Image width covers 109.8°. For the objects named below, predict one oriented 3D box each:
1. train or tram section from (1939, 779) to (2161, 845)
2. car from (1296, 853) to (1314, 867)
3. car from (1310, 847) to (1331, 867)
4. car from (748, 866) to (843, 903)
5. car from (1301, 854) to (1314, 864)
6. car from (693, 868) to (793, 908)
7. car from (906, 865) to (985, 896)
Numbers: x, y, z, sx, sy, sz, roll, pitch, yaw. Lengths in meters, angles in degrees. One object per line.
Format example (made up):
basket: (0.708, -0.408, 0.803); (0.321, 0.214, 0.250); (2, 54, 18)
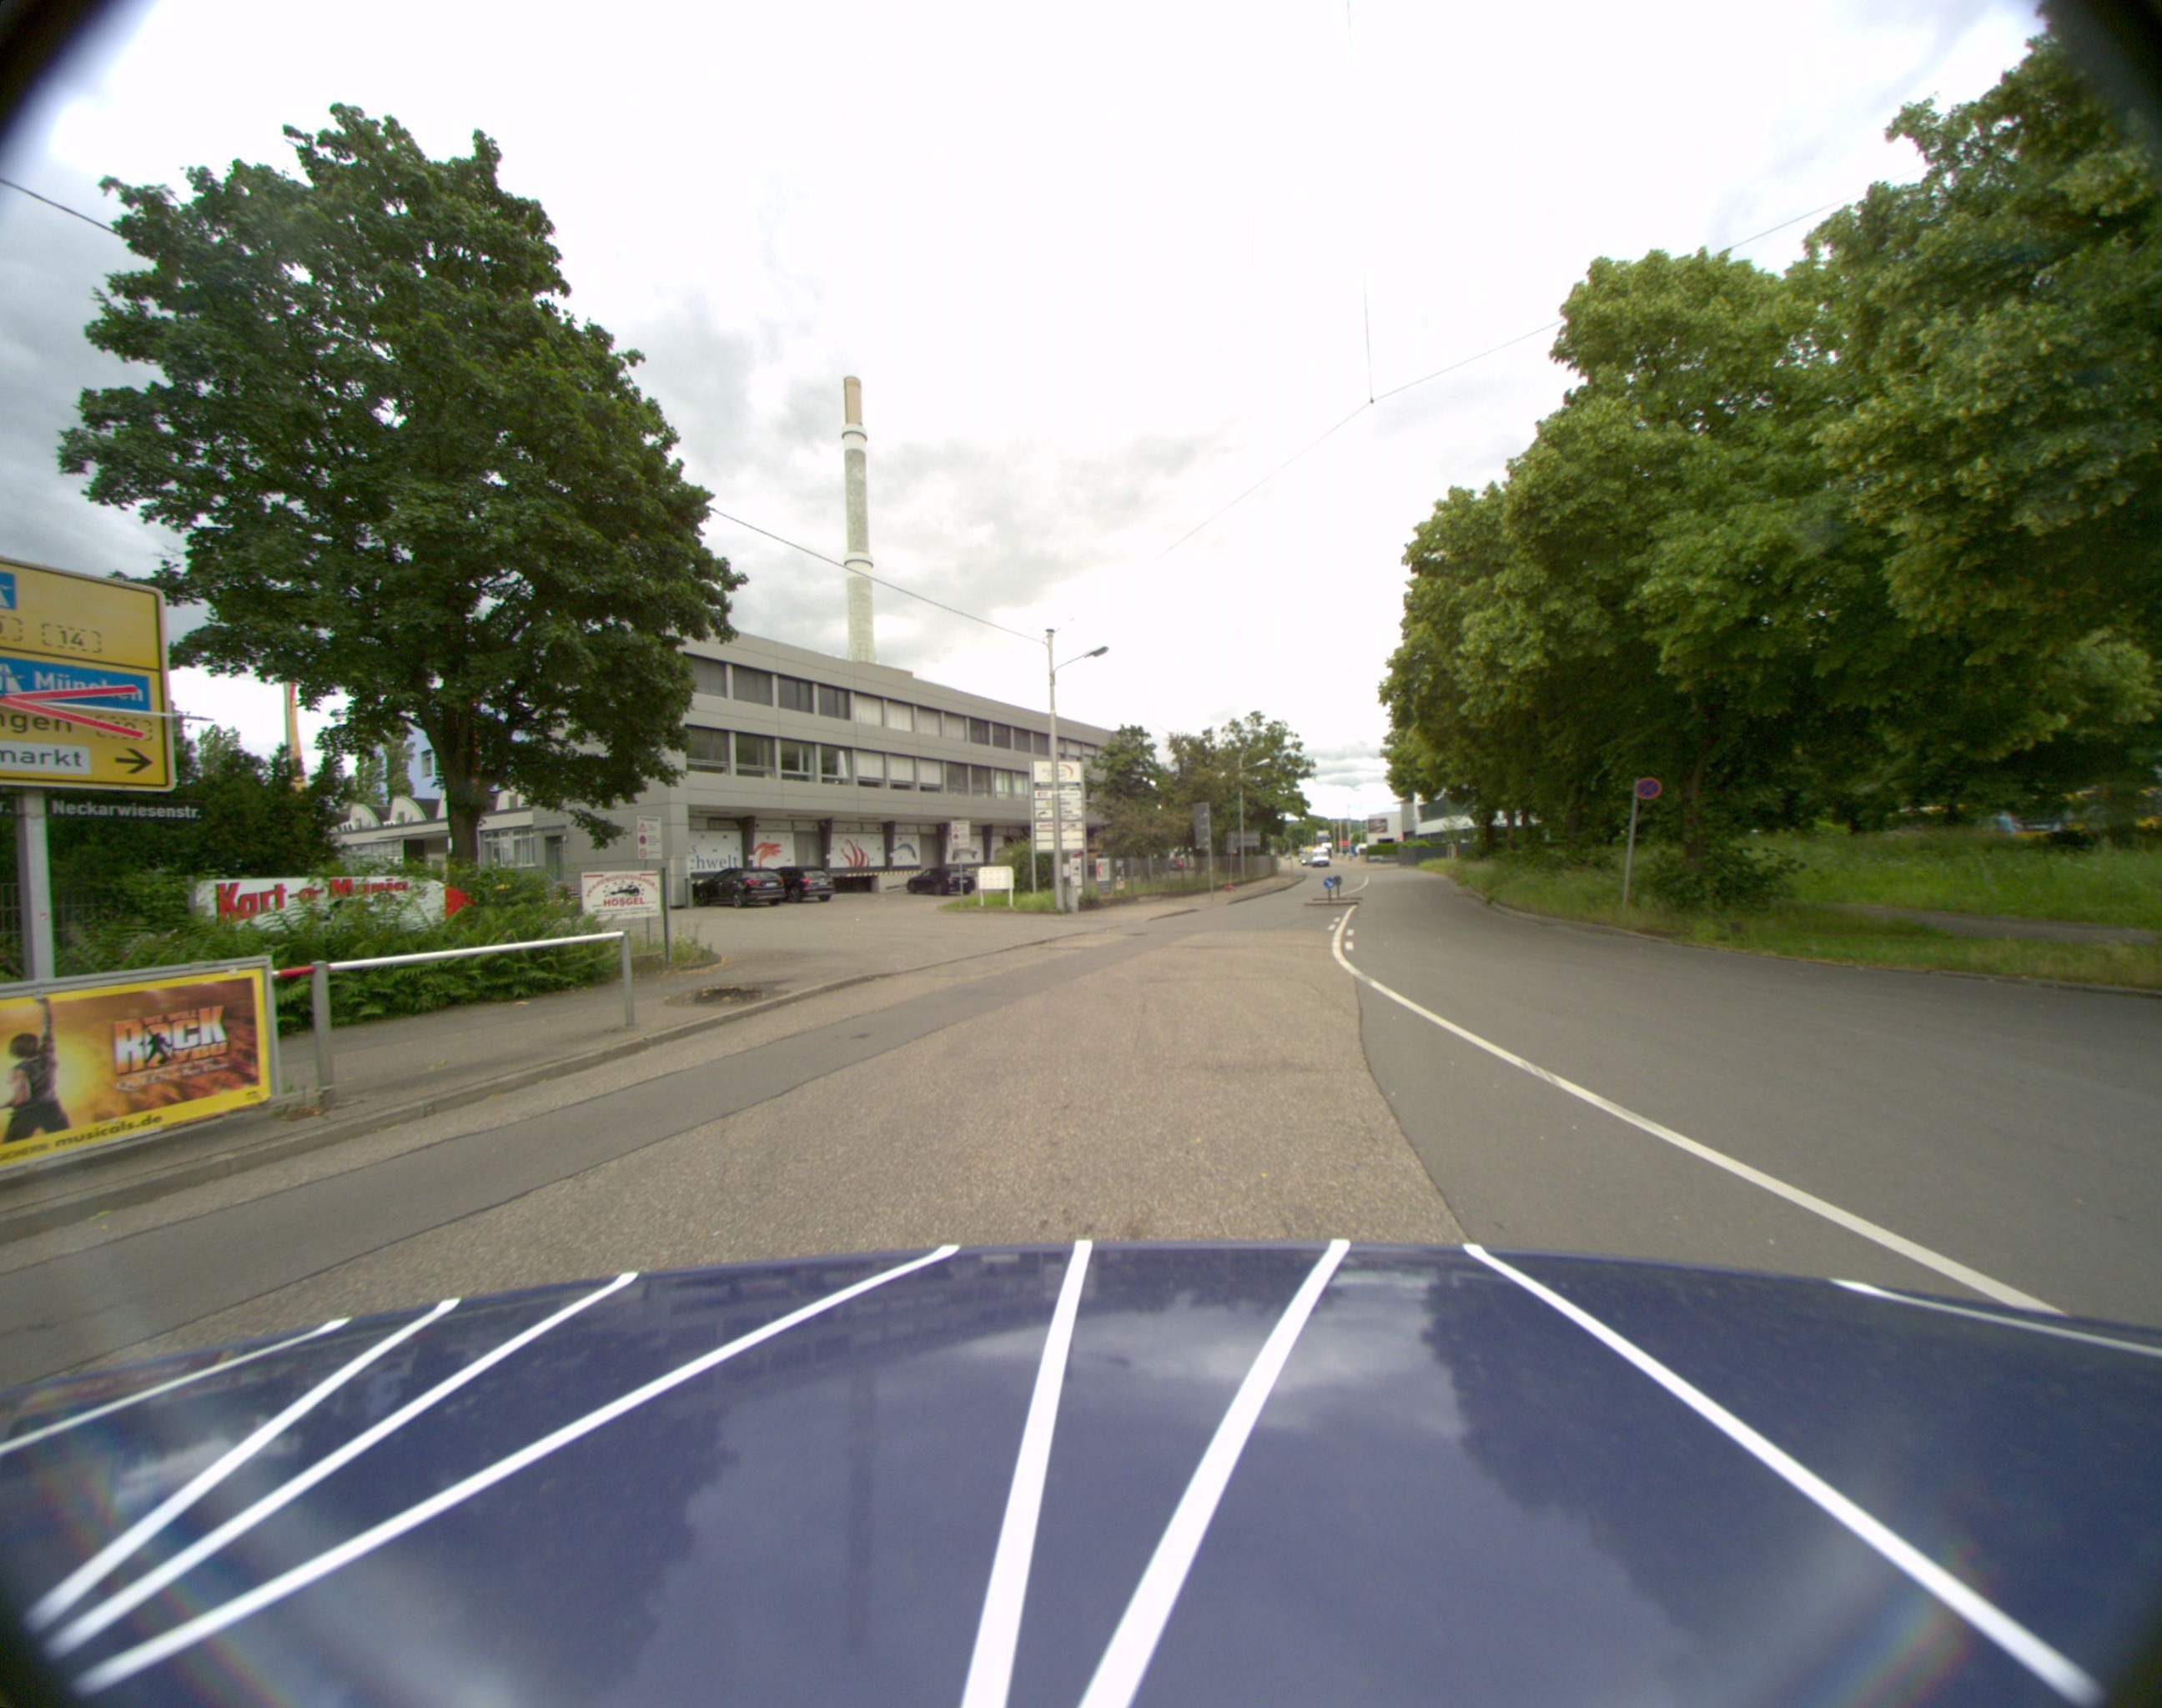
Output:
train or tram section: (64.823, -2.495, 50.692); (3.269, 3.644, 19.208); (-2, 0, 27)
car: (32.958, 0.886, 111.677); (2.385, 1.858, 5.213); (-3, 0, 17)
car: (31.467, 0.341, 100.042); (2.385, 2.444, 6.108); (-3, 0, 17)
car: (-13.349, 1.382, 35.464); (4.411, 1.608, 1.842); (-1, 0, 32)
car: (44.804, 0.919, 150.282); (2.385, 1.858, 5.213); (-3, 0, 17)
car: (-14.670, 1.429, 32.914); (4.453, 1.608, 1.842); (-1, 0, 33)
car: (-7.419, 1.409, 41.259); (2.054, 1.437, 4.815); (-2, 2, -40)
